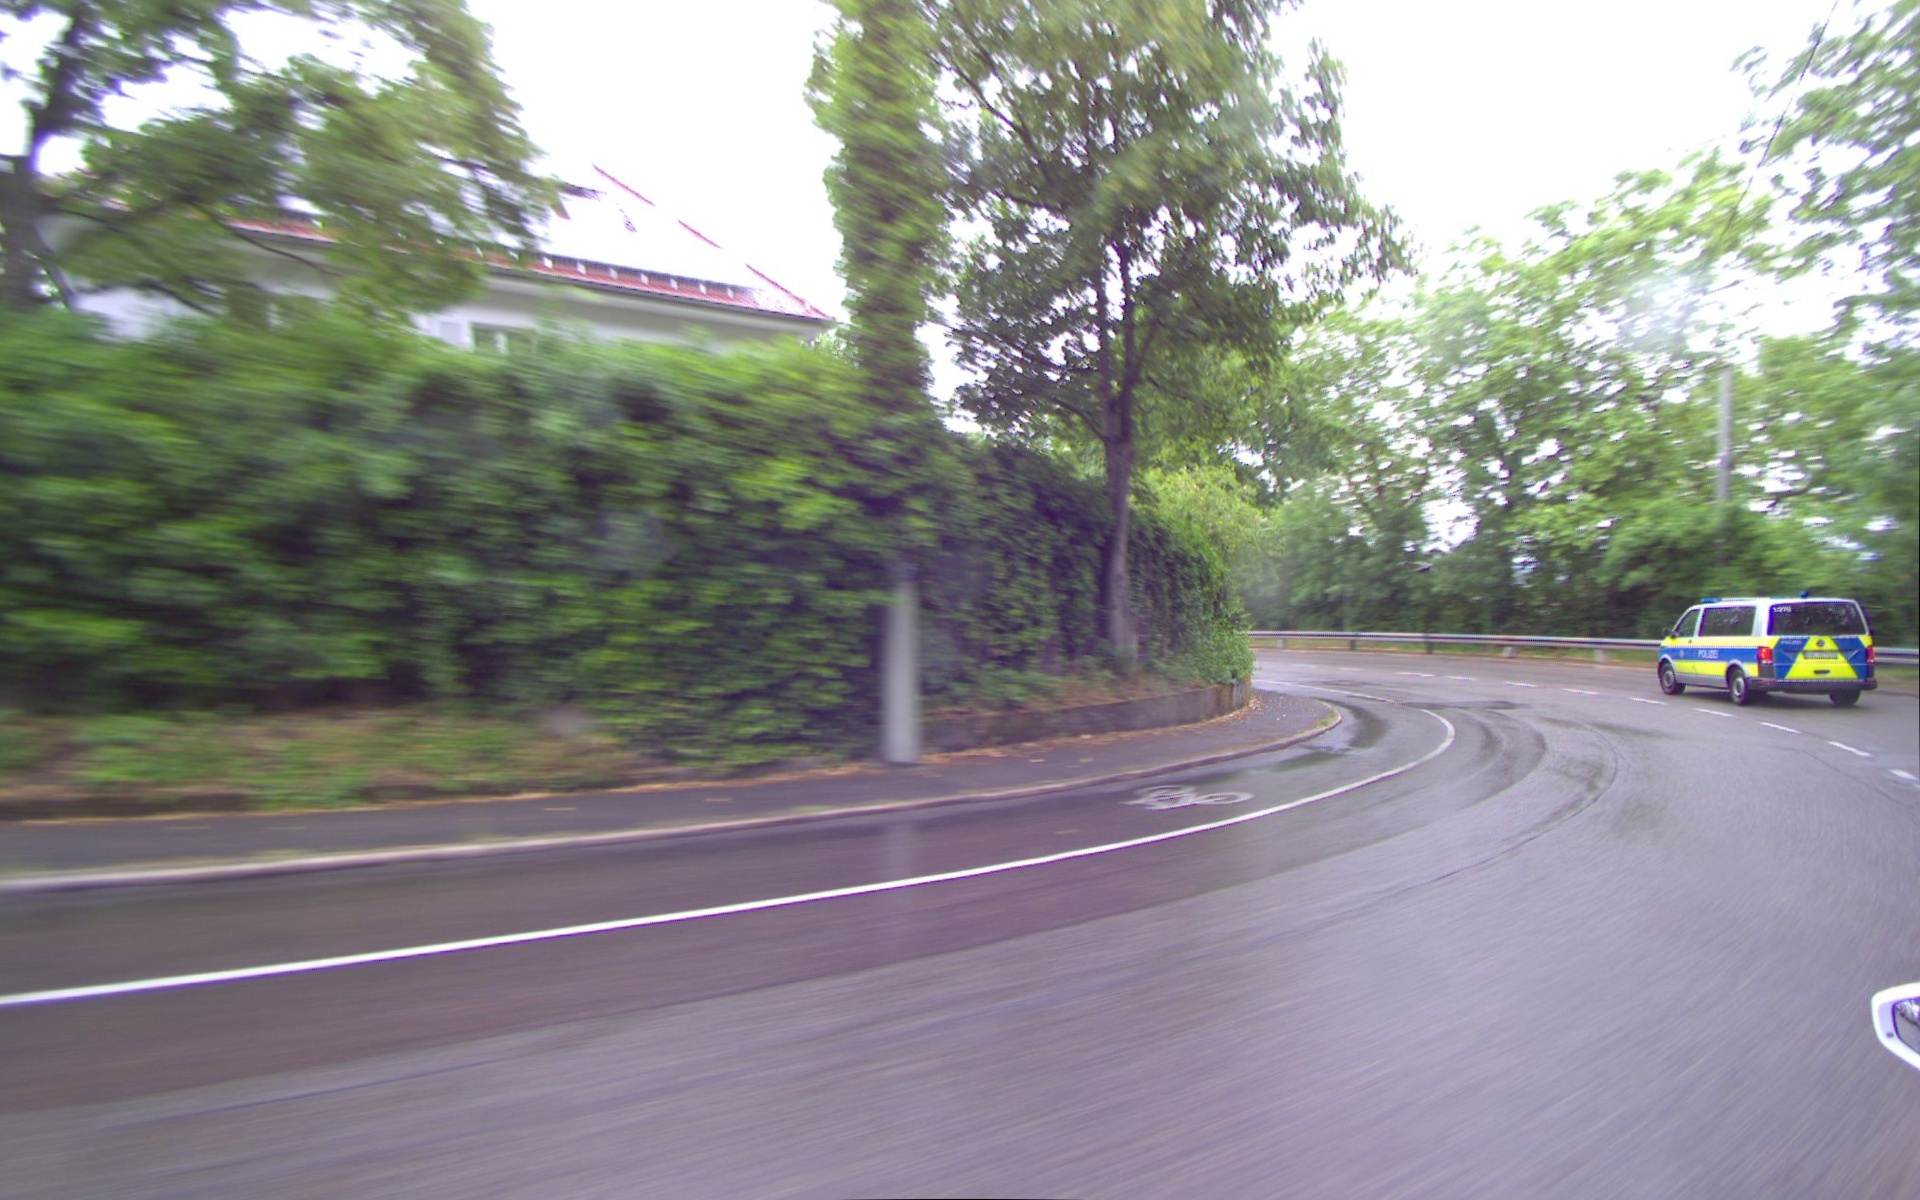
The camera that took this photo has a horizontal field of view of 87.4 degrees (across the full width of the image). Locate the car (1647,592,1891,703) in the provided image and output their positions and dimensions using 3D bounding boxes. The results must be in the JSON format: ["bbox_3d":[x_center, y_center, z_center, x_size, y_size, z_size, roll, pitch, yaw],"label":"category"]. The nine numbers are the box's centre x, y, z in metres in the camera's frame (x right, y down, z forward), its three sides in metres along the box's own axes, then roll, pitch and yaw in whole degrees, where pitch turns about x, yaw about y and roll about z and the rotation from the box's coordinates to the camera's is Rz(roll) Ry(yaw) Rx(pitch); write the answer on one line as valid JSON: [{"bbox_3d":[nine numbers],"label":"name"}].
[{"bbox_3d":[15.730,0.925,19.907,1.960,1.918,4.573,-2,-2,14],"label":"car"}]
